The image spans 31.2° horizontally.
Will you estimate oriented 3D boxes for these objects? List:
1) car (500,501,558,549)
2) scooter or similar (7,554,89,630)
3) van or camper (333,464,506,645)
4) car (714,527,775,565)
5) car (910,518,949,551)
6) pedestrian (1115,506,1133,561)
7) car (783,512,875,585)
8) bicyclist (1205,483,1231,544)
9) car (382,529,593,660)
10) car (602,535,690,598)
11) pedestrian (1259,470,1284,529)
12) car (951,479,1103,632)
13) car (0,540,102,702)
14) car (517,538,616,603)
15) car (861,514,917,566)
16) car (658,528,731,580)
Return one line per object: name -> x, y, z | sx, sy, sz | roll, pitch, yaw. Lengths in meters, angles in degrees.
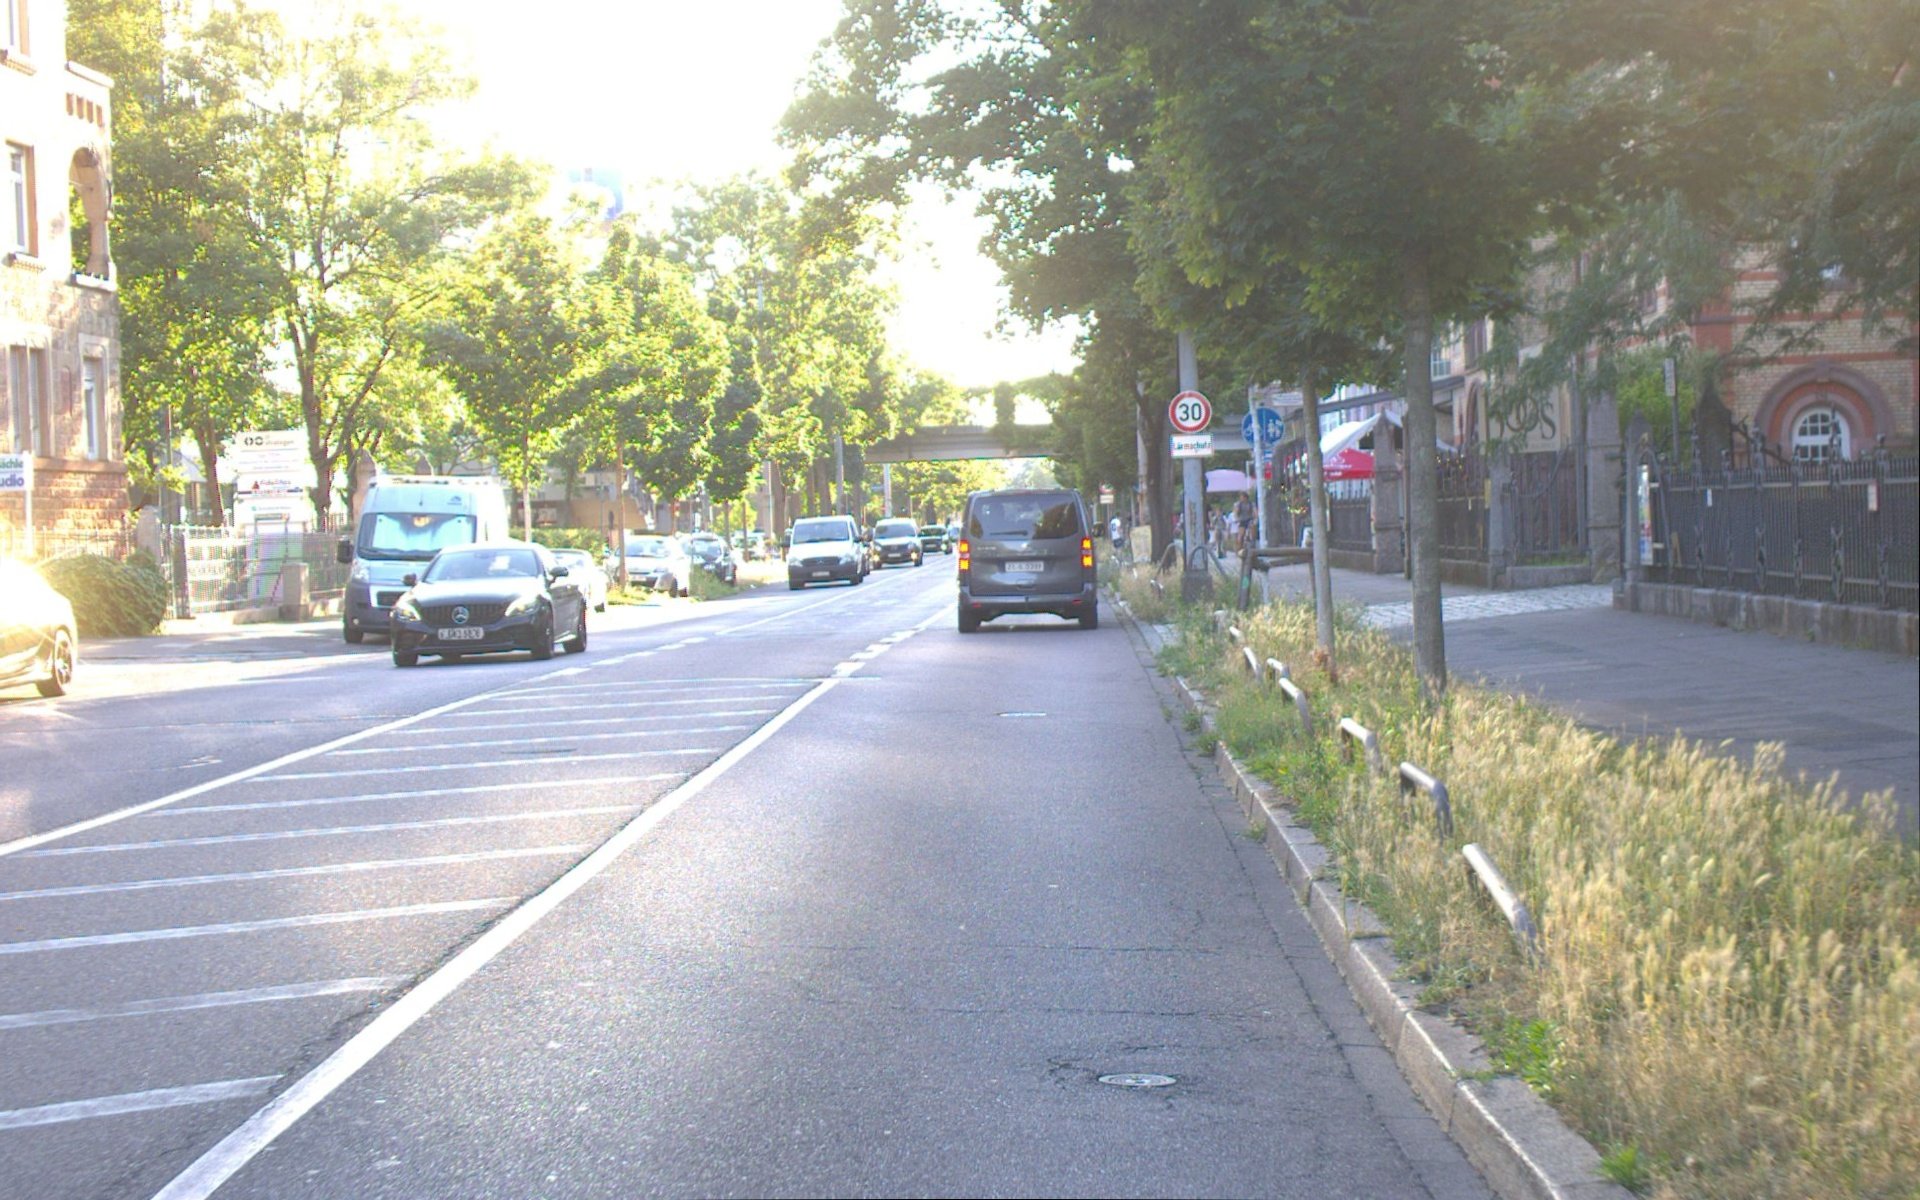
car -> -20.919, -3.647, 166.912 | 1.993, 2.299, 5.245 | 0, 1, 2
scooter or similar -> -13.326, -0.116, 50.233 | 0.288, 1.053, 1.115 | -1, 2, 44
van or camper -> -8.347, -0.745, 53.539 | 1.993, 2.659, 6.039 | 0, 1, -2
car -> -8.412, -2.120, 134.333 | 1.993, 1.409, 4.237 | 0, 1, 2
car -> -1.499, -3.278, 171.338 | 1.679, 1.524, 4.000 | -3, 1, 2
pedestrian -> 5.590, -2.275, 117.134 | 0.504, 1.882, 0.545 | 0, 1, -13
car -> -3.547, -1.431, 93.850 | 1.994, 1.825, 5.169 | -3, 1, 3
bicyclist -> 6.479, -2.169, 86.428 | 0.595, 1.527, 0.893 | 0, 1, 2
car -> -5.569, -0.108, 41.037 | 1.766, 1.397, 4.545 | -2, 1, 1
car -> -7.523, -0.832, 82.726 | 1.697, 1.446, 4.000 | 0, 1, 1
pedestrian -> 8.682, -2.801, 95.836 | 0.644, 1.627, 0.656 | 0, 1, 2
car -> 0.948, -0.631, 46.598 | 1.887, 1.918, 3.839 | -2, 2, 3
car -> -9.884, 0.211, 32.886 | 1.993, 1.478, 4.829 | -2, 1, 1
car -> -7.888, -0.615, 69.173 | 1.536, 1.244, 3.614 | 0, 1, 1
car -> -2.624, -2.256, 128.222 | 1.833, 1.846, 4.474 | -3, 1, 1
car -> -7.337, -1.289, 95.286 | 1.638, 1.381, 4.000 | 0, 1, 1
